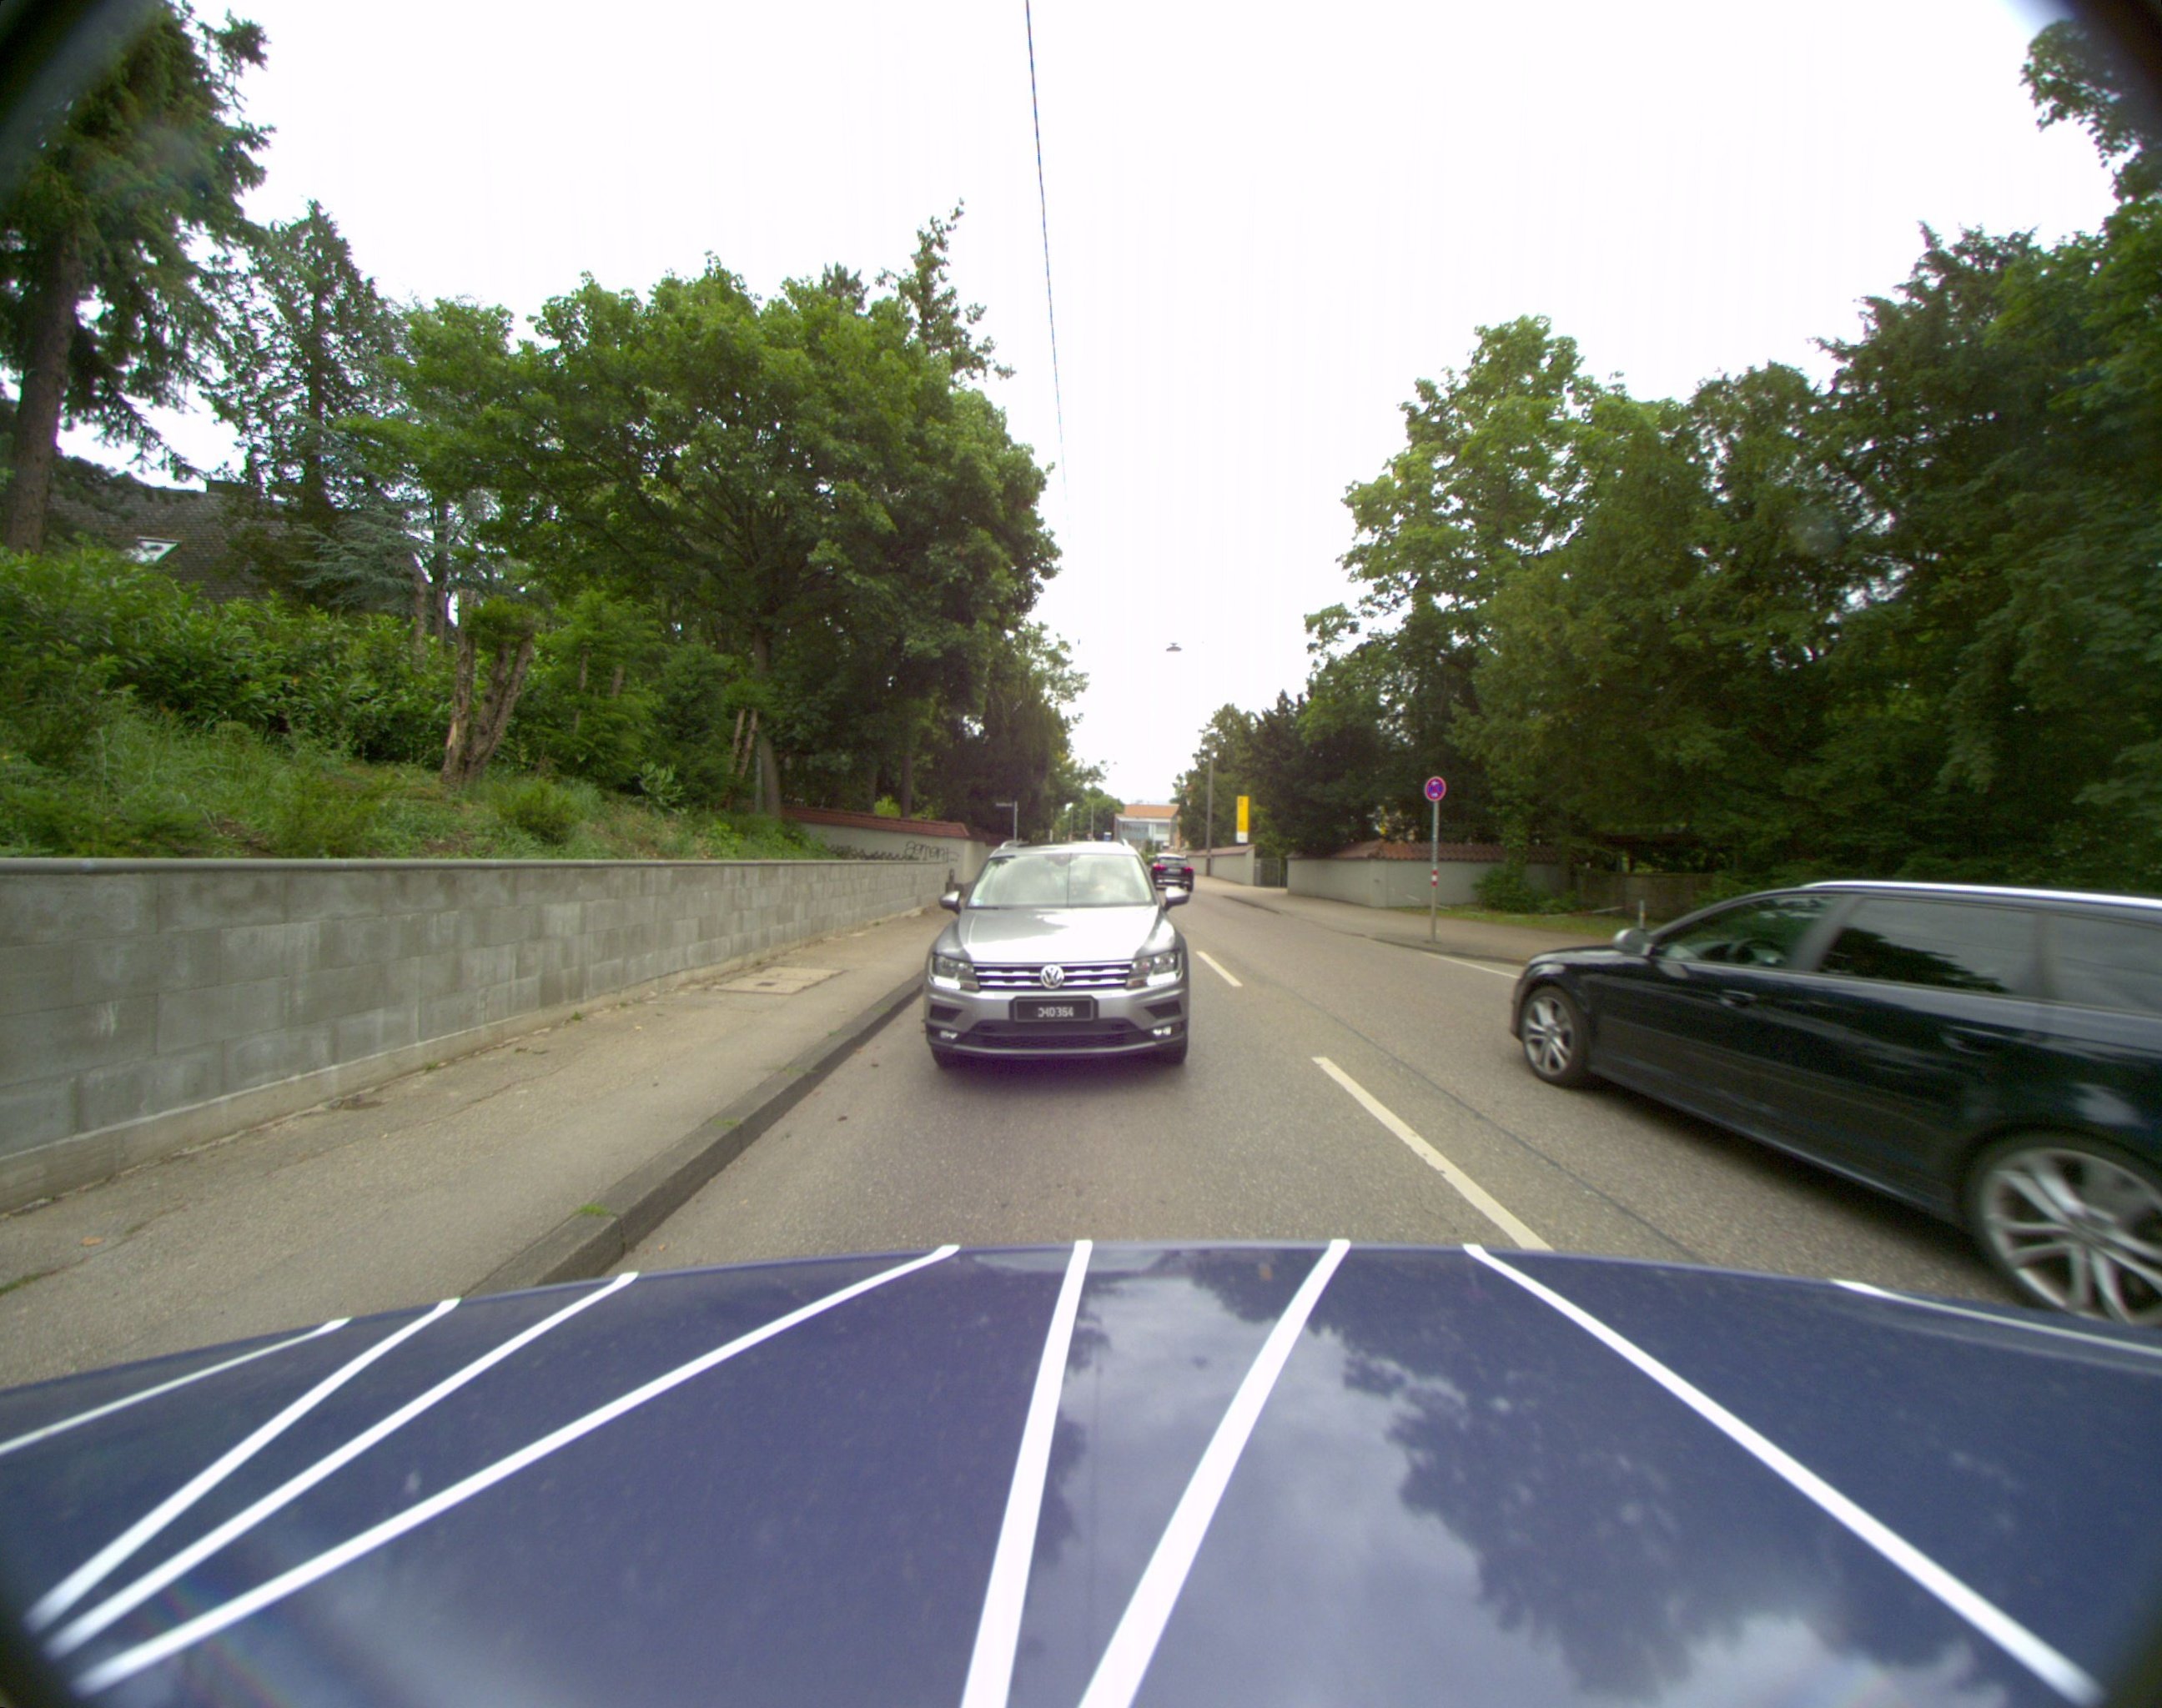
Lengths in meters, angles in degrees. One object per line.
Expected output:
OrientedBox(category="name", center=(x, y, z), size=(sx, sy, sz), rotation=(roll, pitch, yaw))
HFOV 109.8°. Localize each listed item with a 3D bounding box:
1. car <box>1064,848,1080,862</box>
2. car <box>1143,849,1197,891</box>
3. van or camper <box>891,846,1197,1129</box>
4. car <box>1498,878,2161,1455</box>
OrientedBox(category="car", center=(-1.108, 0.135, 96.797), size=(1.789, 1.644, 4.120), rotation=(3, 0, 1))
OrientedBox(category="car", center=(3.899, 0.653, 33.988), size=(1.864, 1.648, 4.306), rotation=(3, 0, 1))
OrientedBox(category="van or camper", center=(-0.195, 0.779, 6.588), size=(1.800, 1.663, 4.198), rotation=(0, 0, 1))
OrientedBox(category="car", center=(3.917, 0.948, 3.352), size=(1.864, 1.445, 4.110), rotation=(3, 0, 1))
